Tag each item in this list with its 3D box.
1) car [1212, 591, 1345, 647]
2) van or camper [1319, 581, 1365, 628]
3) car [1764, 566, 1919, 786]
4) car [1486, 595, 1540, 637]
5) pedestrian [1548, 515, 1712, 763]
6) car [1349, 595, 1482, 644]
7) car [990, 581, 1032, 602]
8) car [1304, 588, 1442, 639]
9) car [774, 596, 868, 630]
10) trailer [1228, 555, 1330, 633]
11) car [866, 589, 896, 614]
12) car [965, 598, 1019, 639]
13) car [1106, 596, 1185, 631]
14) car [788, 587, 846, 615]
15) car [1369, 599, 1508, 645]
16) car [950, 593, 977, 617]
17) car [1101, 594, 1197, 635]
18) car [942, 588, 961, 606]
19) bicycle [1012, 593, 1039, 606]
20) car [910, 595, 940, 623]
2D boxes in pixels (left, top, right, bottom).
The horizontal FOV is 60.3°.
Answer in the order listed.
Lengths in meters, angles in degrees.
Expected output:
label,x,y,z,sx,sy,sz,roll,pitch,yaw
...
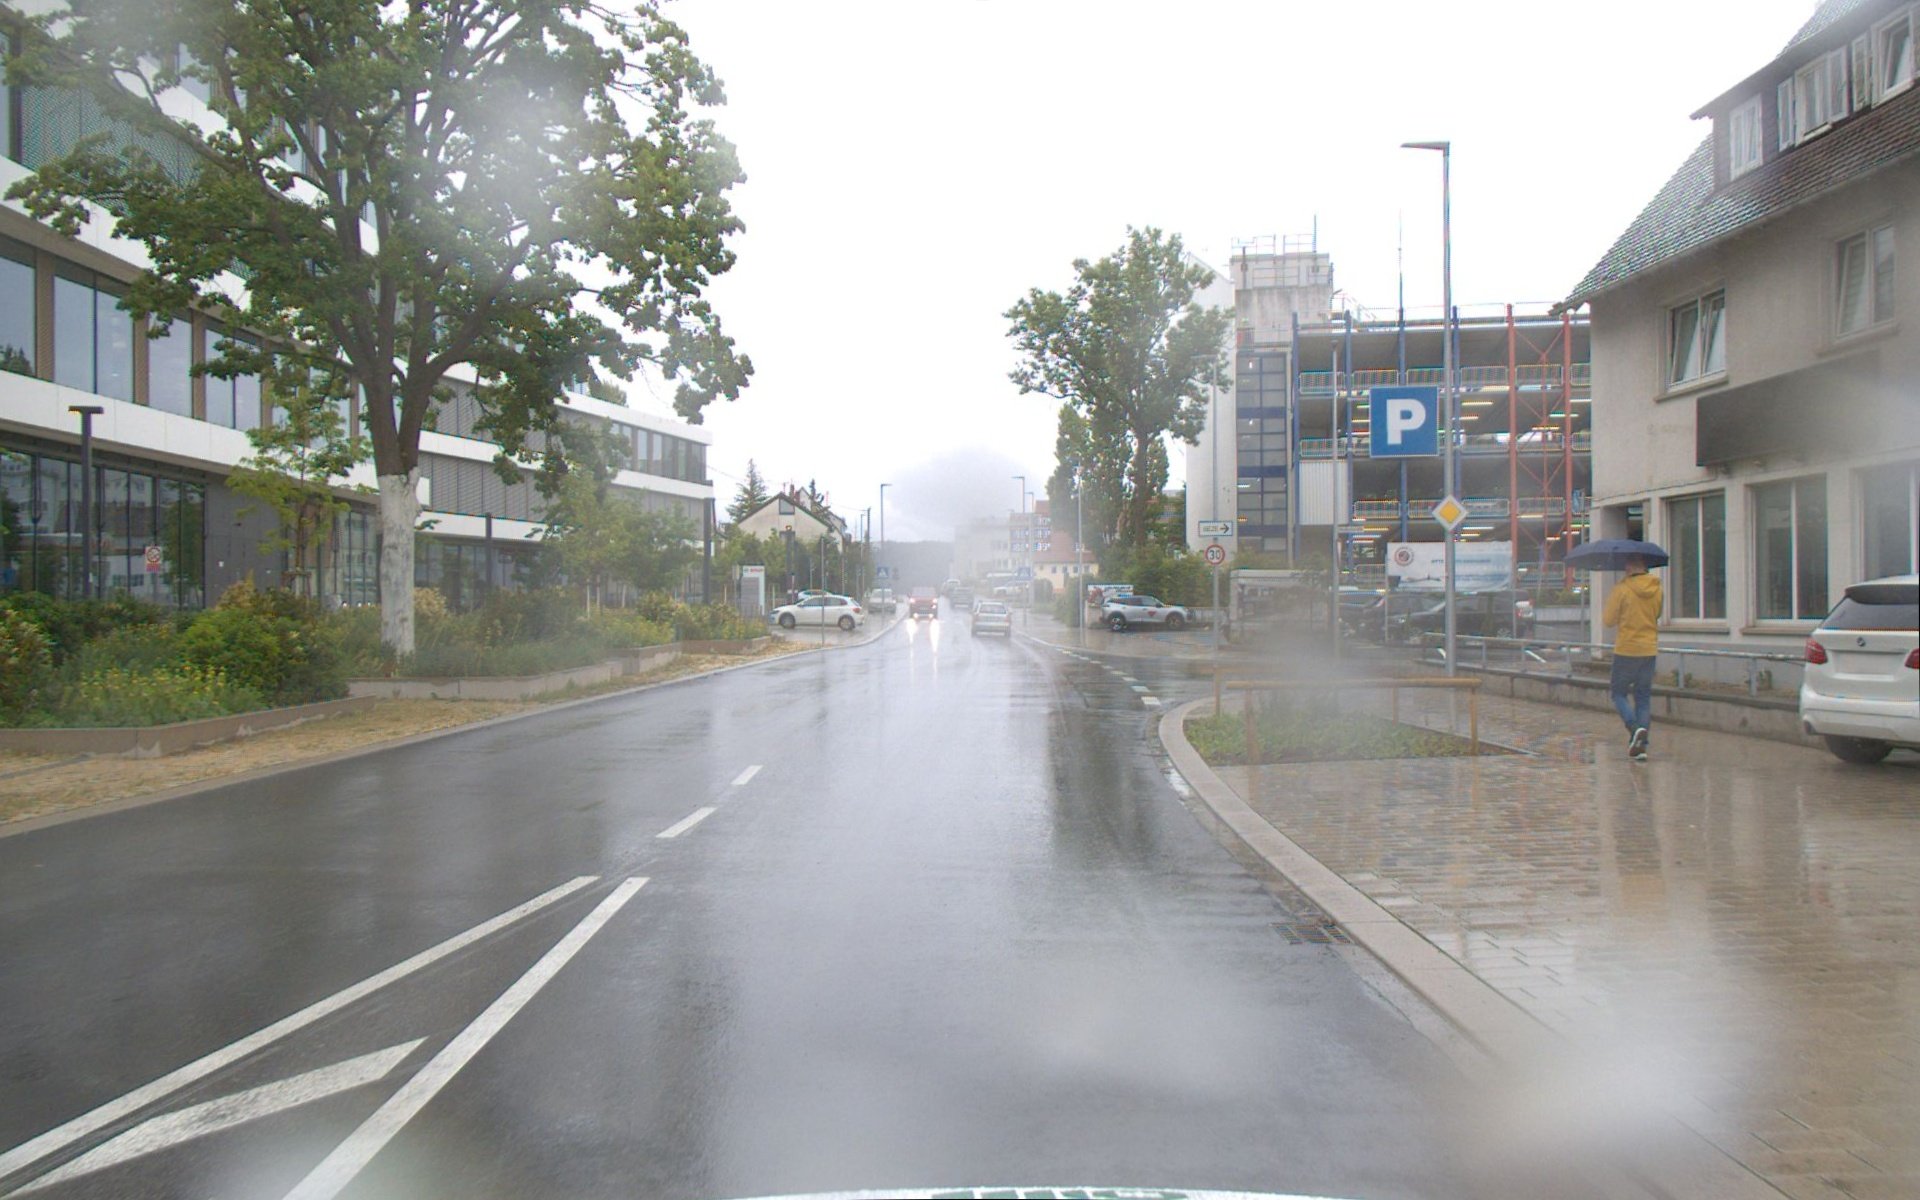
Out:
label,x,y,z,sx,sy,sz,roll,pitch,yaw
car,9.597,0.577,49.943,3.650,1.556,1.649,-1,-1,-1
van or camper,17.078,0.200,74.100,1.798,2.072,4.465,0,0,10
car,8.883,0.501,13.276,4.061,1.608,1.992,-2,0,-15
car,24.098,0.679,72.205,1.693,1.708,4.004,-1,0,11
pedestrian,5.848,0.328,14.514,0.842,2.049,1.194,-2,0,-3
car,14.259,0.596,51.893,3.652,1.474,1.729,0,0,-4
car,5.110,-0.837,165.521,4.032,1.736,1.787,4,-2,-4
car,14.137,0.466,56.748,4.268,1.680,1.844,0,0,-3
car,-5.892,0.543,70.650,3.847,1.448,1.898,0,0,0
trailer,9.098,-0.163,47.366,2.646,2.209,1.548,0,0,1
car,-5.488,0.108,115.590,1.953,1.657,4.152,0,1,-1
car,1.342,0.821,71.119,1.910,1.583,3.997,4,-2,-3
car,8.574,0.618,76.432,3.544,1.521,1.808,-1,0,8
car,-11.933,0.083,137.745,4.663,2.049,1.997,4,-2,-7
car,14.297,0.639,49.510,3.652,1.338,1.691,0,0,-4
car,0.261,0.434,140.231,2.110,1.736,3.999,4,-2,-1
car,8.444,0.633,73.656,4.117,1.678,2.002,-2,0,9
car,-0.941,-0.283,181.197,1.953,1.736,3.999,3,-2,-1
bicycle,6.289,-0.049,158.924,0.662,1.085,3.589,4,-2,-32
car,-2.355,0.586,109.846,1.962,1.849,4.977,0,0,-2
